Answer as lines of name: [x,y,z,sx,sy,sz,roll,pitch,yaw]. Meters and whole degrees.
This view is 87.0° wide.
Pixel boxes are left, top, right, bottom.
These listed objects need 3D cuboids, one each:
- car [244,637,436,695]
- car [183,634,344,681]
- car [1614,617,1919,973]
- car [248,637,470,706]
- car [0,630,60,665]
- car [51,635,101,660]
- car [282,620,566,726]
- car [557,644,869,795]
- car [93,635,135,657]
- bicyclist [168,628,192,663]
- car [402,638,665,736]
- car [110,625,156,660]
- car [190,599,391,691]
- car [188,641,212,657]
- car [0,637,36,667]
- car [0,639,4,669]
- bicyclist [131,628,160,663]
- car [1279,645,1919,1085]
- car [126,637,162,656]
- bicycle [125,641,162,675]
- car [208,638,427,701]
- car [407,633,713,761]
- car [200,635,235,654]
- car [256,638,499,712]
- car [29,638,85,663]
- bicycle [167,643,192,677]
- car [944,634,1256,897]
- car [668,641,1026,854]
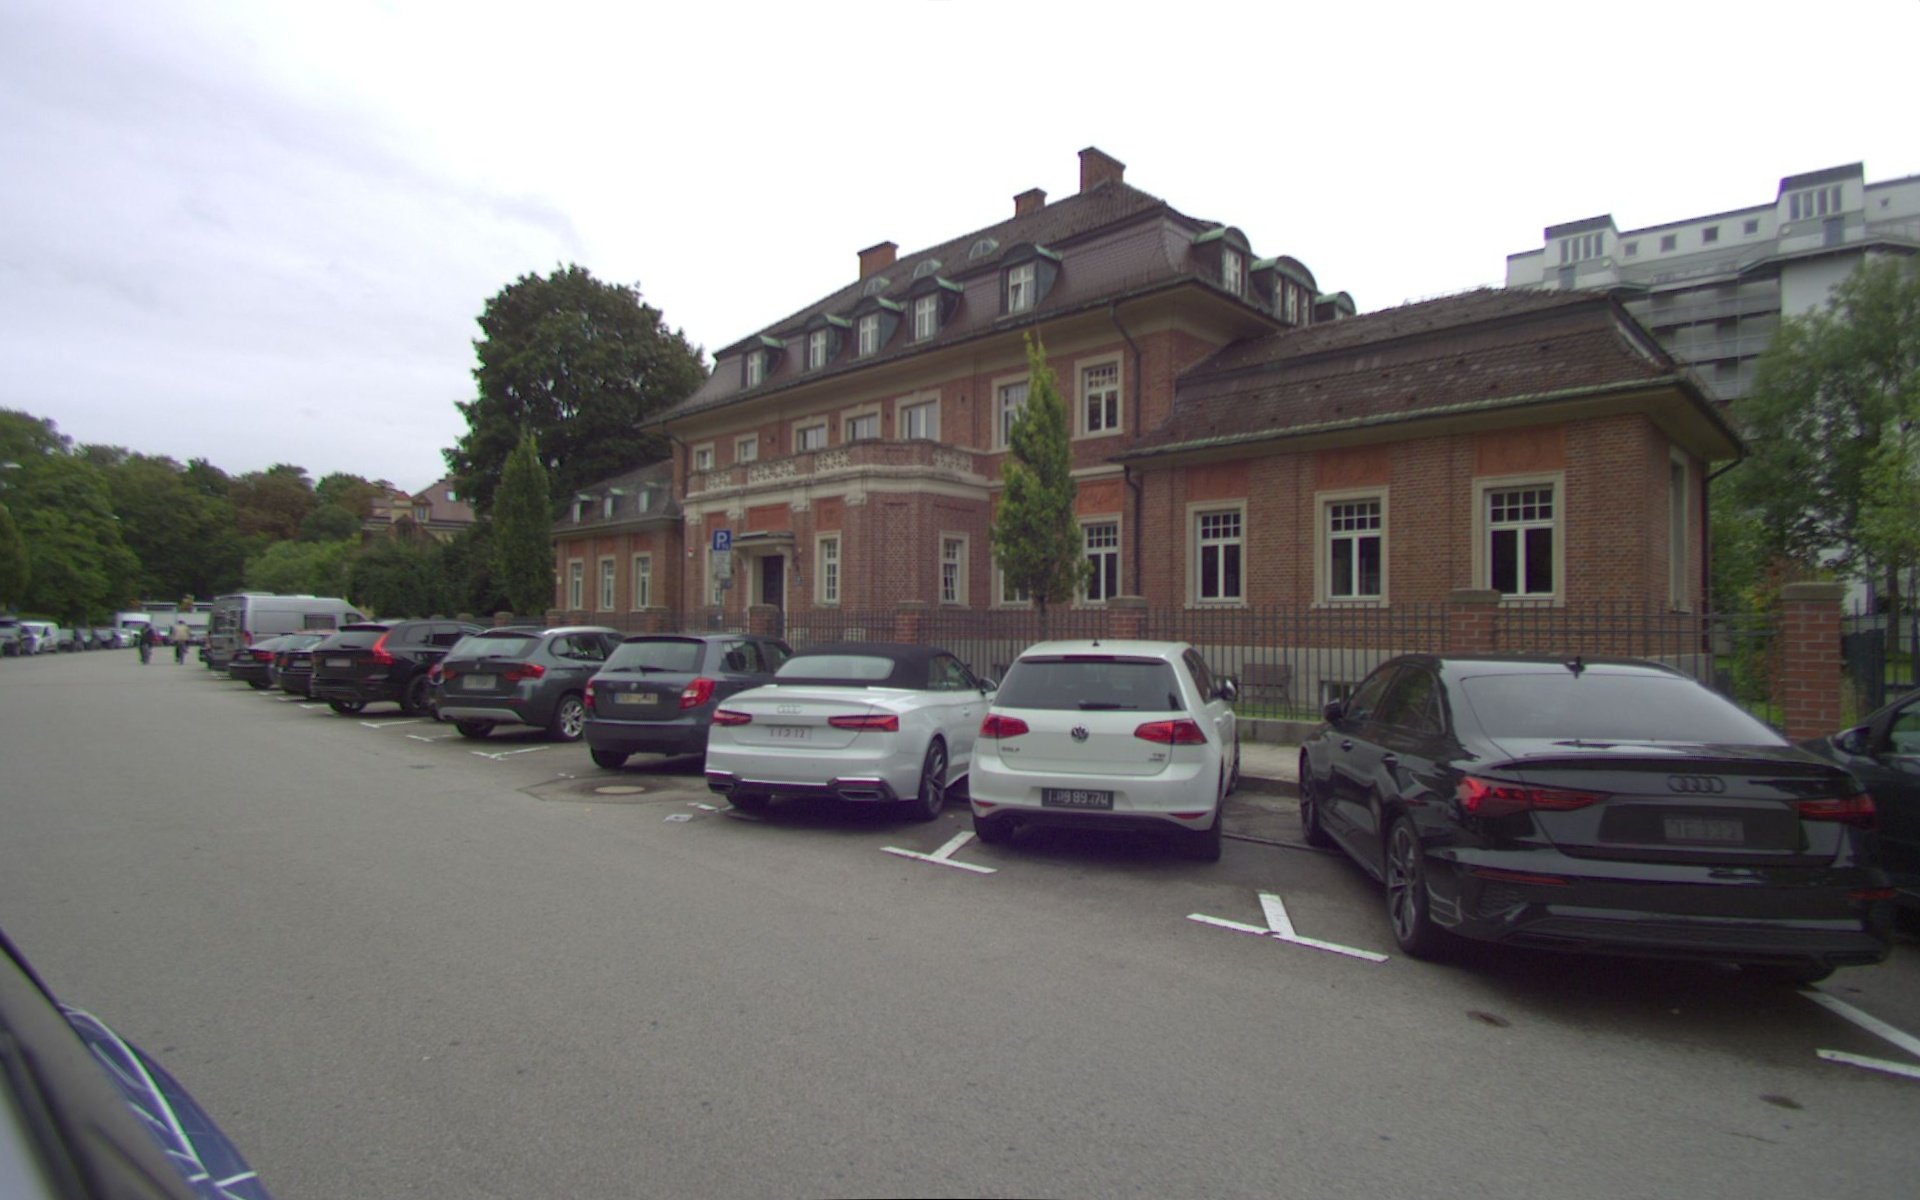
car: [-17.959,1.854,29.562,1.925,1.528,4.491,-1,-2,23]
car: [-25.539,2.124,37.279,1.954,1.606,4.488,0,-3,25]
car: [5.438,0.922,4.949,1.942,1.642,4.404,1,-2,6]
car: [-14.287,1.694,24.405,1.806,1.462,4.499,0,-3,18]
car: [-52.483,2.681,56.918,1.797,1.875,4.912,0,-2,-30]
car: [-58.129,3.134,66.641,1.703,1.541,4.216,3,-4,-31]
car: [-9.662,1.295,18.725,1.972,1.677,4.499,0,-3,18]
car: [-2.686,1.276,12.197,1.643,1.462,4.370,-1,-3,17]
car: [-64.081,3.532,76.695,1.845,1.581,5.014,4,-5,-34]
bicyclist: [-31.647,1.851,41.081,0.687,1.408,0.932,2,-3,-35]
car: [-7.303,1.491,17.860,1.806,1.483,4.301,0,-4,20]
car: [-67.397,3.475,82.560,2.051,2.707,6.104,4,-5,-32]
car: [-20.333,1.394,30.968,2.221,2.583,4.597,-1,-3,25]
car: [-77.396,4.973,103.008,1.867,1.457,4.277,-1,-3,-37]
car: [-49.755,2.684,52.524,1.723,1.492,4.611,1,-3,-31]
car: [-47.526,2.585,48.463,1.724,1.492,3.899,1,-3,-32]
bicyclist: [-32.415,1.797,40.266,0.687,1.362,0.933,1,-3,-27]
car: [3.207,1.008,5.707,1.943,1.450,4.401,0,-2,8]
car: [-70.749,4.074,87.809,1.845,1.518,4.851,4,-5,-32]
bicycle: [-32.498,2.300,40.300,0.696,1.315,2.125,1,-3,-27]
car: [-16.464,1.762,26.242,1.963,1.462,4.494,-1,-3,21]
car: [-5.665,1.306,15.075,1.873,1.579,4.502,0,-2,16]
car: [-72.067,4.323,98.261,1.965,1.706,4.348,-1,-2,-26]
car: [-12.622,1.625,22.312,1.912,1.429,4.499,0,-4,18]
car: [-55.324,3.063,62.076,1.723,1.475,4.254,2,-3,-31]
bicycle: [-31.635,2.413,41.036,0.698,1.315,2.123,2,-3,-35]
car: [1.382,1.152,8.456,1.913,1.521,4.495,0,-4,14]
car: [-0.717,1.140,9.510,1.879,1.462,4.495,0,-3,14]
